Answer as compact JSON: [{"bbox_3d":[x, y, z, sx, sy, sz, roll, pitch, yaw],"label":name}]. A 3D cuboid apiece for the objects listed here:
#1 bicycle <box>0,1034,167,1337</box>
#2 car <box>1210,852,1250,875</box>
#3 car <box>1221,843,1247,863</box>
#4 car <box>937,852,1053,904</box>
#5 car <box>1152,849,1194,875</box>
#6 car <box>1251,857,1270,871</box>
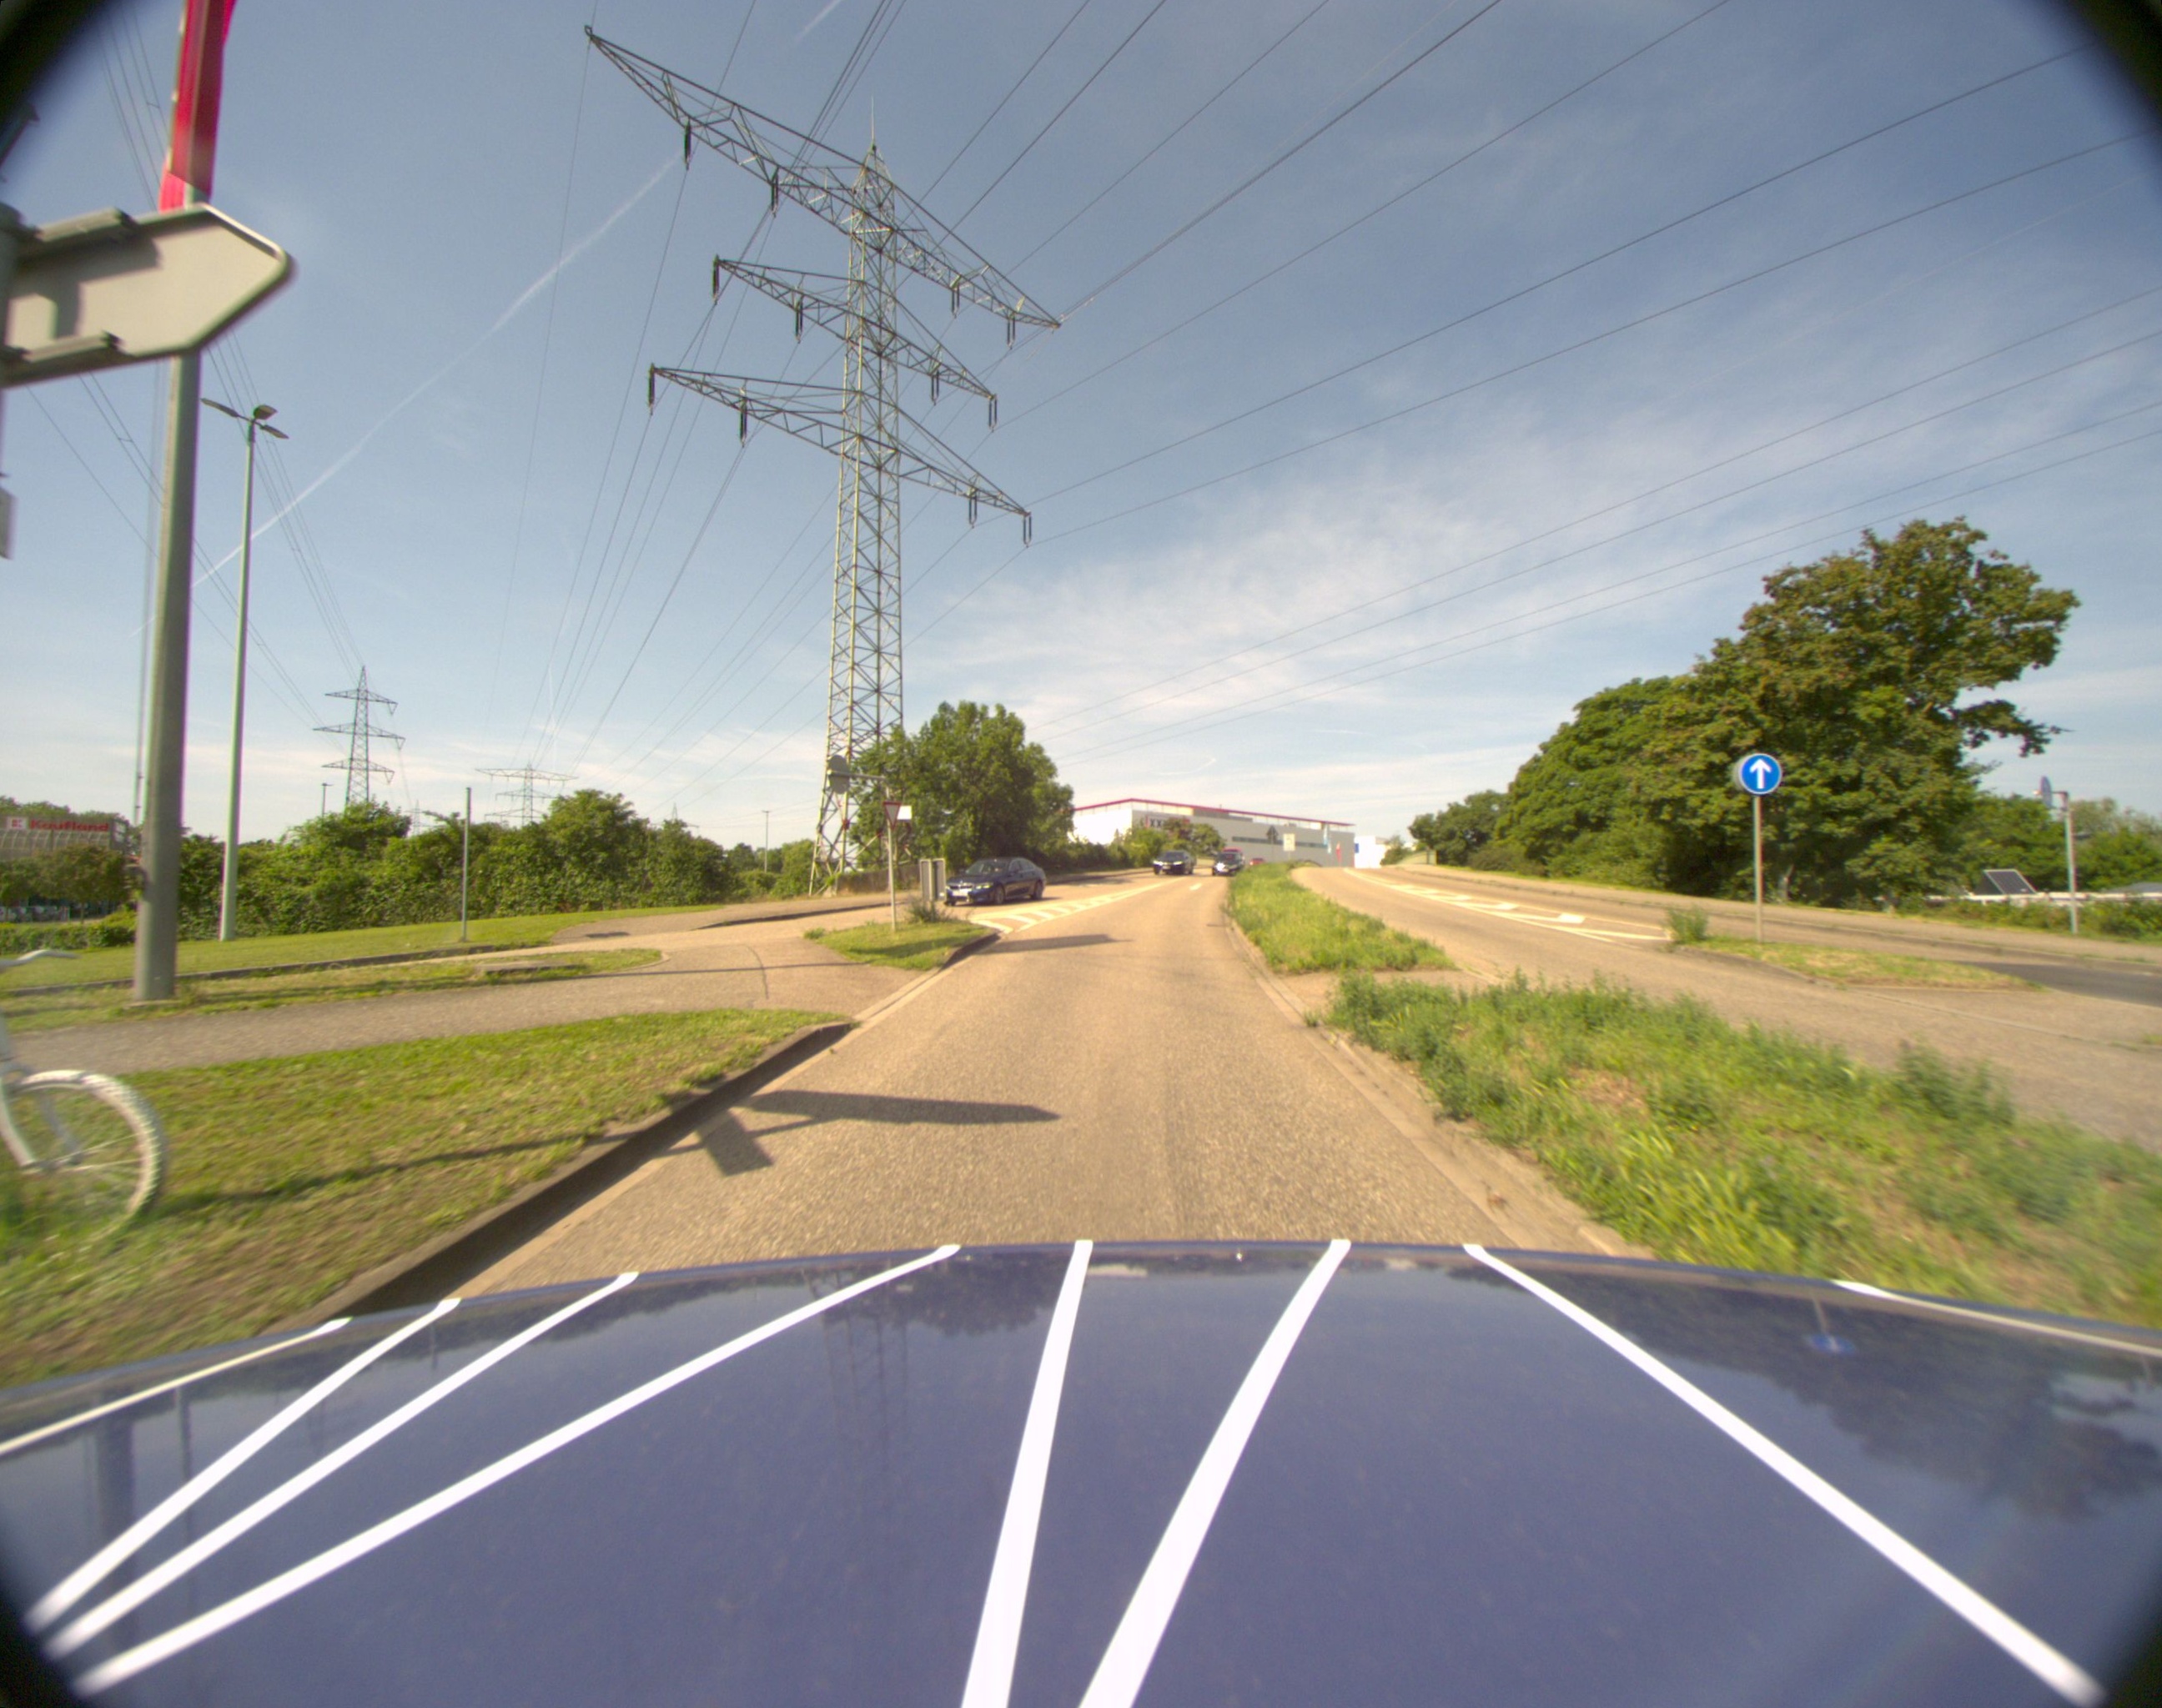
[{"bbox_3d":[-4.096,1.069,2.421,1.789,0.884,0.271,0,0,-8],"label":"bicycle"},{"bbox_3d":[9.492,0.595,48.270,1.847,1.409,4.006,-1,-1,20],"label":"car"},{"bbox_3d":[15.176,-0.158,75.354,1.985,1.896,4.149,-1,1,19],"label":"car"},{"bbox_3d":[-2.588,0.834,24.138,1.789,1.474,4.529,-1,-4,21],"label":"car"},{"bbox_3d":[5.933,0.488,48.615,1.858,1.520,4.149,-2,1,19],"label":"car"},{"bbox_3d":[21.513,1.165,91.062,1.774,1.648,4.150,1,0,19],"label":"car"}]
